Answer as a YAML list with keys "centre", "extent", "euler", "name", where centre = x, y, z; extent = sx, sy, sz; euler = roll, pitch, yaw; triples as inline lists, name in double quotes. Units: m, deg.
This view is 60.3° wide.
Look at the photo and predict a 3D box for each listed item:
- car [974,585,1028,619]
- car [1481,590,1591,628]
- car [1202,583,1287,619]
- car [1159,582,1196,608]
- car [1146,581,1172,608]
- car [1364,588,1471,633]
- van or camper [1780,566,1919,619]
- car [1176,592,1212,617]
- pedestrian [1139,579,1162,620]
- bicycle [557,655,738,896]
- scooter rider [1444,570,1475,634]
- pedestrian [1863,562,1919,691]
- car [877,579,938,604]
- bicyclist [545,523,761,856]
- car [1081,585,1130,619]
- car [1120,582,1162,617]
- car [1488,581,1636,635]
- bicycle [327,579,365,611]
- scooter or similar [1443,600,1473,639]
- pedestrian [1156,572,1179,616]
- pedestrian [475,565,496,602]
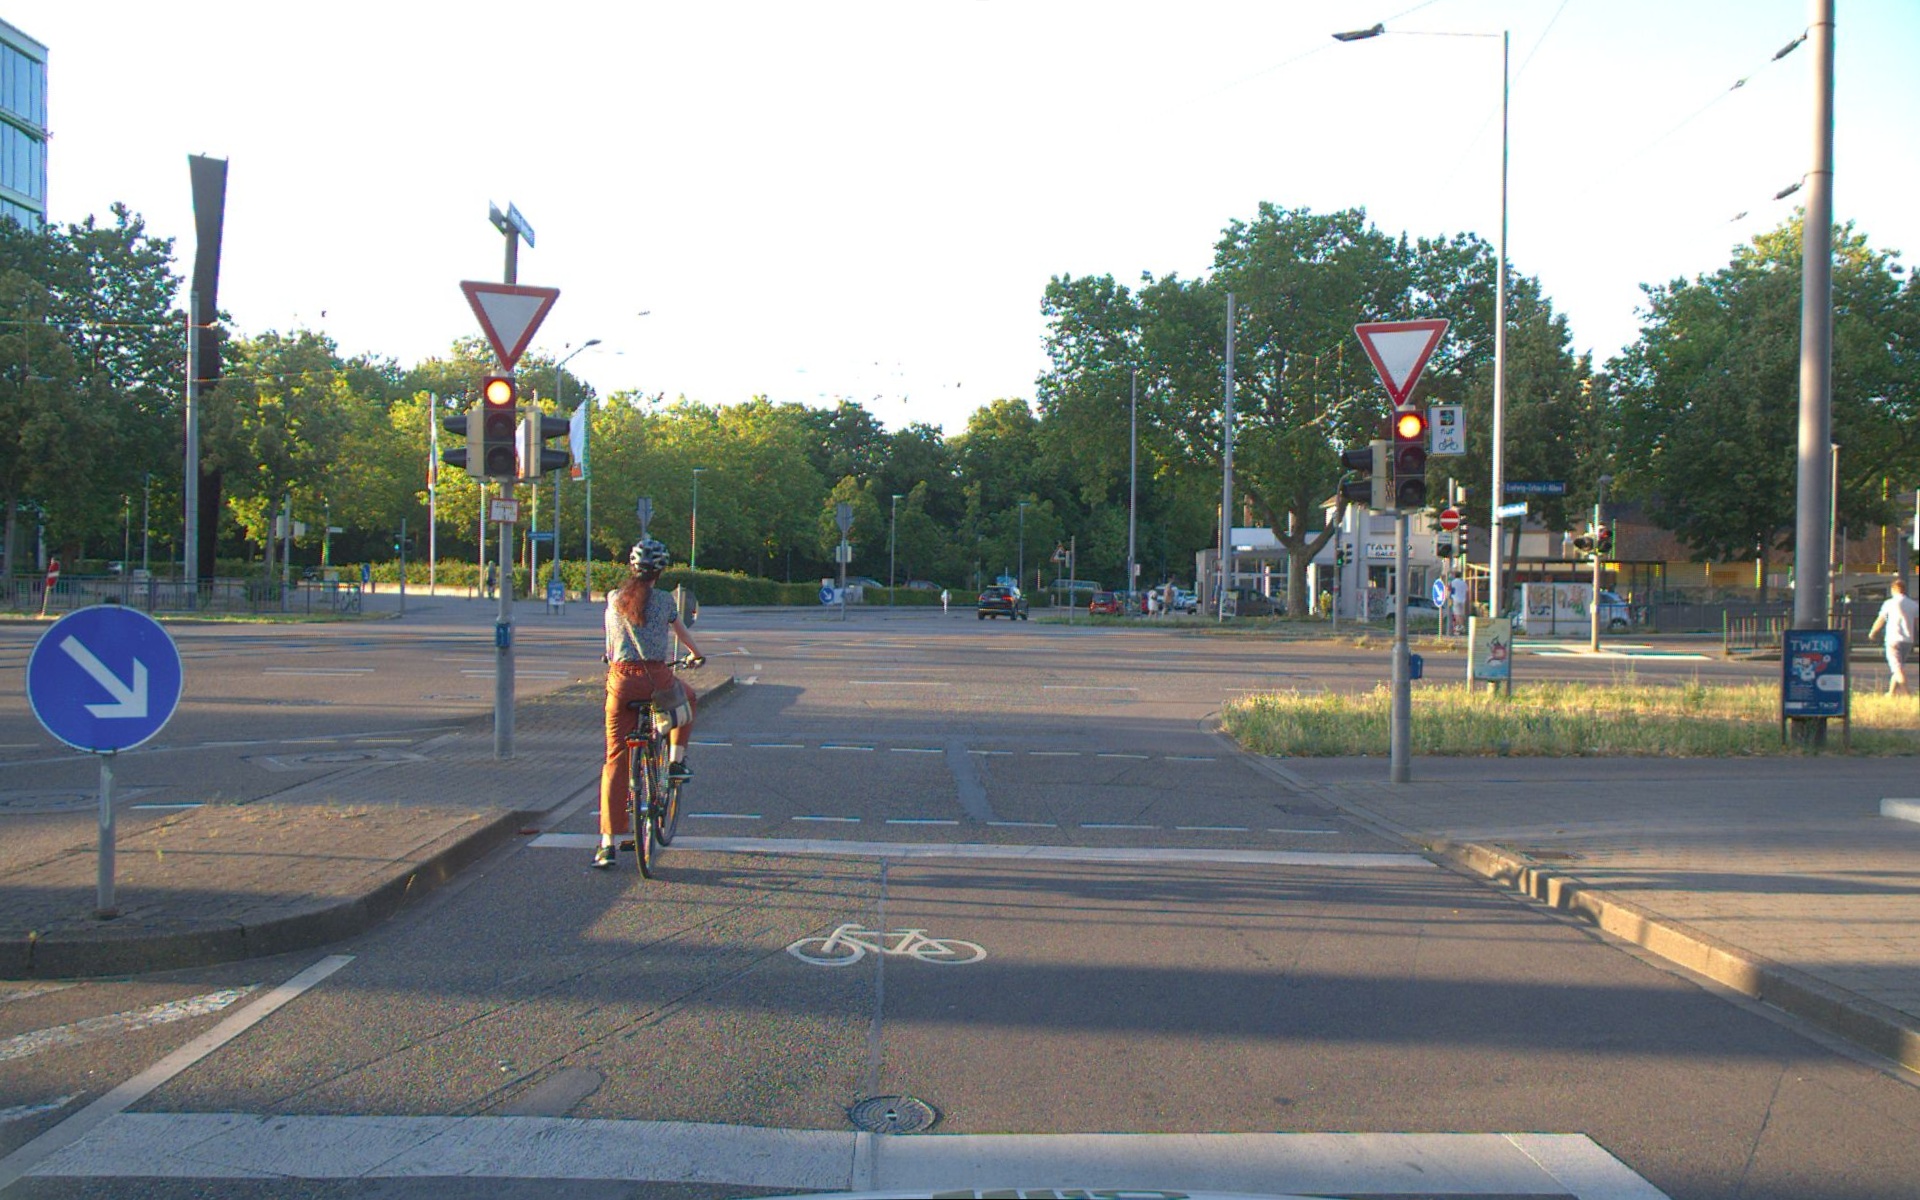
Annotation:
- centre: [1.975, 0.118, 78.080]
  extent: [1.718, 1.568, 4.404]
  euler: [1, -1, 12]
  name: "car"
- centre: [25.338, 0.380, 72.837]
  extent: [4.142, 1.605, 2.001]
  euler: [1, 0, 2]
  name: "car"
- centre: [15.314, 0.031, 89.204]
  extent: [4.285, 1.867, 1.950]
  euler: [1, 1, 4]
  name: "car"
- centre: [17.872, -0.402, 136.026]
  extent: [1.953, 2.049, 3.998]
  euler: [1, 1, 24]
  name: "car"
- centre: [15.811, -0.456, 131.429]
  extent: [1.951, 2.049, 4.003]
  euler: [1, 1, 6]
  name: "car"
- centre: [20.084, 0.449, 72.699]
  extent: [4.142, 1.878, 2.001]
  euler: [1, 0, 2]
  name: "car"
- centre: [43.650, -0.351, 80.383]
  extent: [6.426, 2.452, 2.265]
  euler: [1, 0, 3]
  name: "van or camper"
- centre: [16.383, 0.312, 115.714]
  extent: [1.875, 1.630, 4.002]
  euler: [1, 1, 17]
  name: "car"
- centre: [7.860, -0.036, 68.253]
  extent: [0.704, 1.667, 0.897]
  euler: [1, 0, 23]
  name: "pedestrian"
- centre: [-1.684, 0.904, 9.226]
  extent: [0.621, 1.086, 2.122]
  euler: [1, 1, -1]
  name: "bicycle"
- centre: [14.898, 0.066, 49.319]
  extent: [0.688, 1.887, 0.669]
  euler: [1, -1, -1]
  name: "scooter rider"
- centre: [13.544, 0.369, 23.841]
  extent: [0.745, 1.822, 0.802]
  euler: [1, 0, 18]
  name: "pedestrian"
- centre: [-3.435, -0.541, 109.476]
  extent: [3.905, 1.588, 2.000]
  euler: [1, 0, 1]
  name: "car"
- centre: [-1.682, 0.471, 9.240]
  extent: [1.011, 1.748, 0.996]
  euler: [1, 0, -1]
  name: "bicyclist"
- centre: [8.445, 0.092, 95.836]
  extent: [1.829, 1.907, 3.875]
  euler: [1, 1, 20]
  name: "car"
- centre: [11.371, -0.041, 103.495]
  extent: [1.875, 2.083, 4.002]
  euler: [1, 1, 17]
  name: "car"
- centre: [20.807, 0.259, 57.245]
  extent: [4.445, 1.758, 1.860]
  euler: [1, 0, -5]
  name: "car"
- centre: [-23.136, -0.207, 62.344]
  extent: [0.685, 1.156, 2.391]
  euler: [1, 1, -3]
  name: "bicycle"
- centre: [14.861, 0.571, 49.358]
  extent: [0.499, 1.109, 1.243]
  euler: [1, 0, -1]
  name: "scooter or similar"
- centre: [8.541, -0.229, 67.933]
  extent: [0.704, 1.785, 0.897]
  euler: [1, 0, 23]
  name: "pedestrian"
- centre: [-23.112, -0.793, 80.577]
  extent: [0.884, 1.785, 0.715]
  euler: [1, 0, -26]
  name: "pedestrian"
